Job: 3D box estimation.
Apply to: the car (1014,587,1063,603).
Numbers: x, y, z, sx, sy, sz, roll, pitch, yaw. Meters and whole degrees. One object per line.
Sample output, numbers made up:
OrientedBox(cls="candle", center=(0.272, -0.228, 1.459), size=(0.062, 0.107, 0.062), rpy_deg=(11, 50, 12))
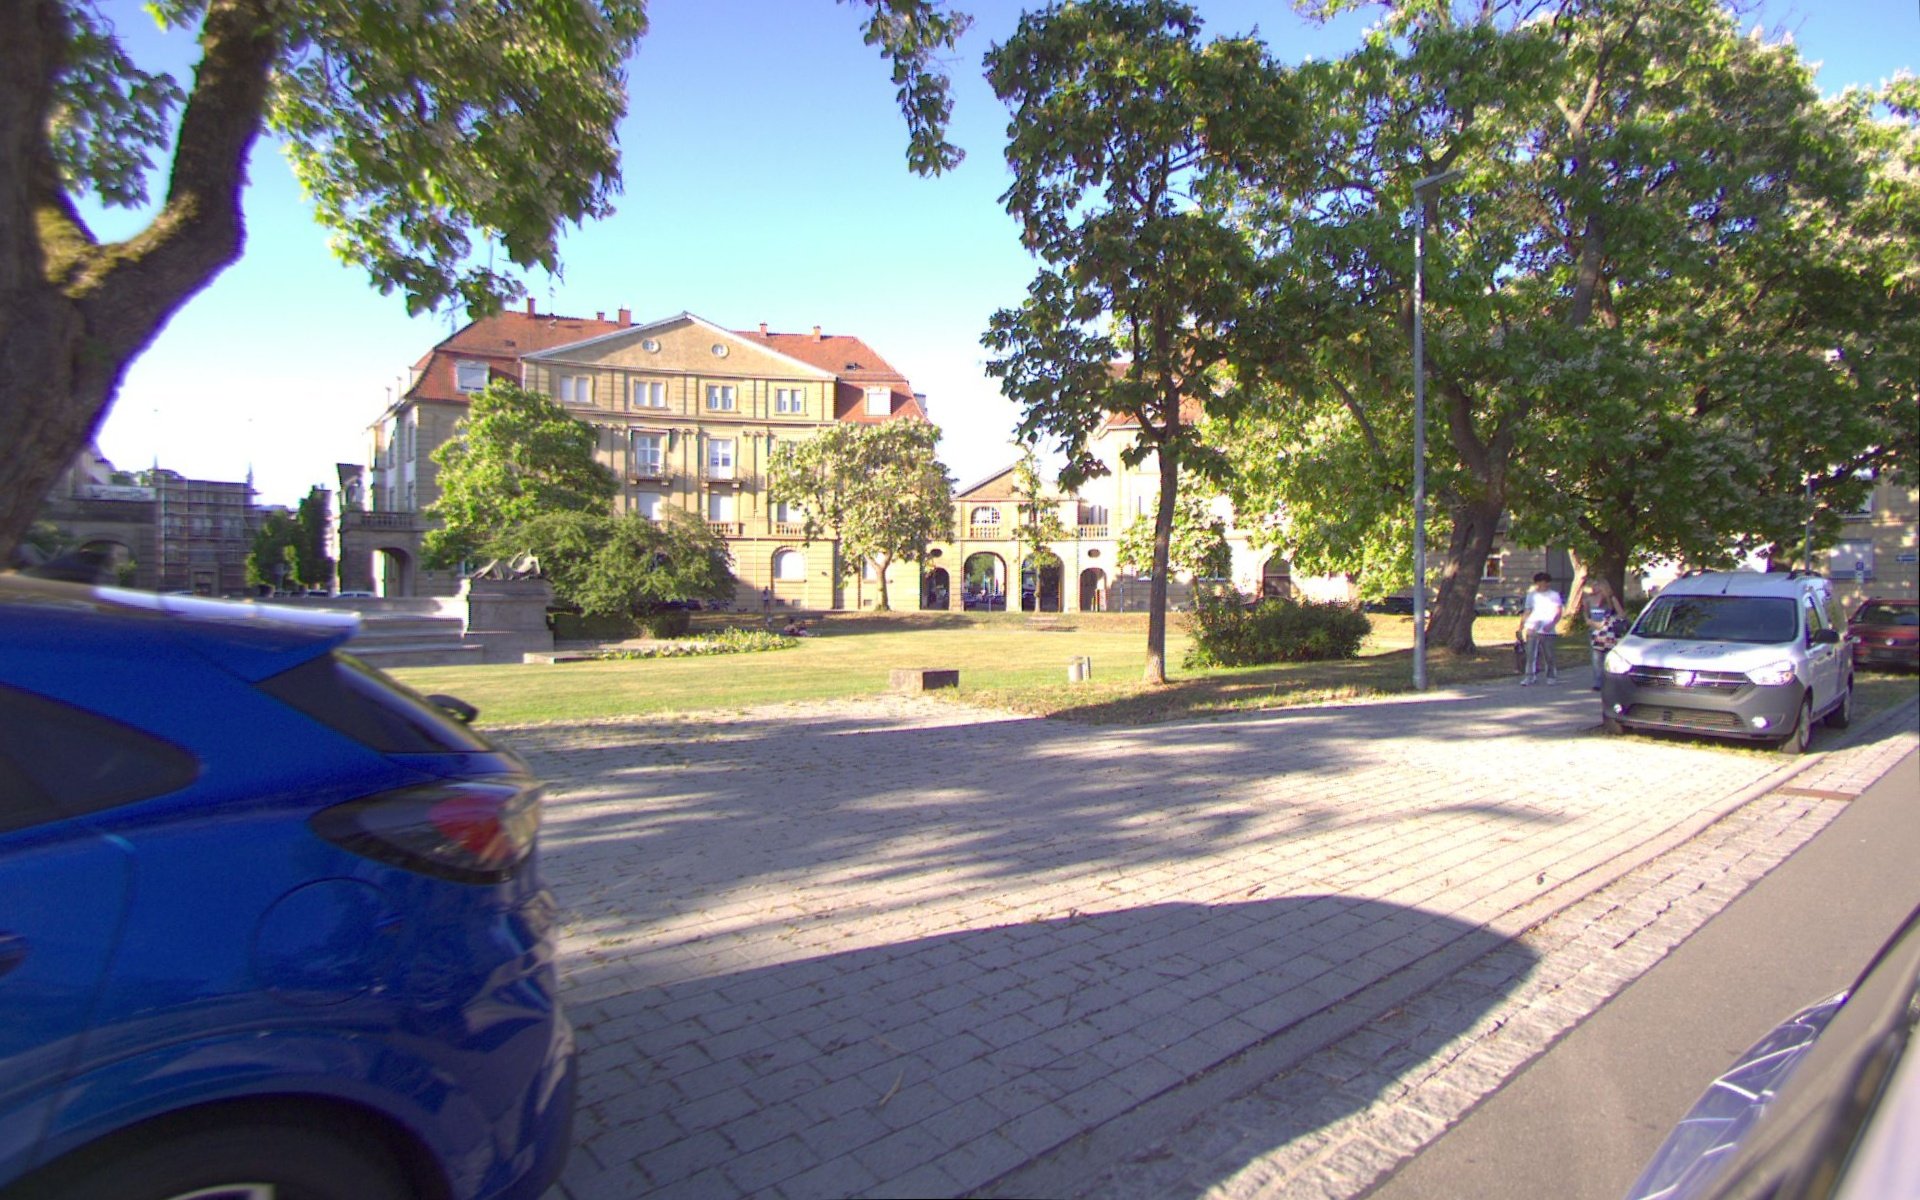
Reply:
OrientedBox(cls="car", center=(7.186, -0.466, 92.837), size=(4.283, 1.435, 1.822), rpy_deg=(0, 1, -5))

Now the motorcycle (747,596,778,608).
OrientedBox(cls="motorcycle", center=(-12.286, 0.109, 63.031), size=(1.825, 0.679, 0.682), rpy_deg=(-1, 1, -38))

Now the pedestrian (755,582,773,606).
OrientedBox(cls="pedestrian", center=(-12.225, -0.369, 63.076), size=(0.933, 1.493, 0.682), rpy_deg=(-1, 1, -38))

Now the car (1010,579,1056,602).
OrientedBox(cls="car", center=(7.152, -0.940, 99.121), size=(4.286, 2.134, 1.821), rpy_deg=(0, 1, -3))

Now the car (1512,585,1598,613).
OrientedBox(cls="car", center=(35.831, -0.072, 61.027), size=(4.419, 1.620, 1.782), rpy_deg=(0, 1, 32))

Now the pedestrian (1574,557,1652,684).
OrientedBox(cls="pedestrian", center=(9.391, 0.286, 14.556), size=(0.719, 1.758, 0.754), rpy_deg=(0, -1, -40))

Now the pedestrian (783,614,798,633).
OrientedBox(cls="pedestrian", center=(-8.227, 1.126, 49.086), size=(0.664, 0.892, 0.578), rpy_deg=(-1, -1, -3))

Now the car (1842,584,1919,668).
OrientedBox(cls="car", center=(19.151, 0.446, 20.242), size=(4.726, 1.504, 1.681), rpy_deg=(-1, 1, -41))

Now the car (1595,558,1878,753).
OrientedBox(cls="car", center=(8.752, 0.453, 11.253), size=(4.436, 1.761, 1.681), rpy_deg=(-1, 1, -41))

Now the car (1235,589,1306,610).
OrientedBox(cls="car", center=(21.127, -0.051, 68.946), size=(4.589, 1.435, 1.809), rpy_deg=(0, 1, 19))

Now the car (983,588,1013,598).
OrientedBox(cls="car", center=(5.473, -1.017, 146.561), size=(4.288, 1.435, 1.820), rpy_deg=(0, 1, 0))

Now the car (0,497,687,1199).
OrientedBox(cls="car", center=(-2.700, 0.653, 1.335), size=(4.200, 1.570, 1.735), rpy_deg=(-1, 1, -40))

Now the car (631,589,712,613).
OrientedBox(cls="car", center=(-18.310, 0.064, 64.352), size=(4.845, 1.435, 1.823), rpy_deg=(-1, 1, -16))

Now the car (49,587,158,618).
OrientedBox(cls="car", center=(-42.408, 0.110, 50.210), size=(4.024, 1.435, 1.817), rpy_deg=(-1, 1, -40))

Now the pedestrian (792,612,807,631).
OrientedBox(cls="pedestrian", center=(-7.920, 1.049, 50.030), size=(0.664, 0.892, 0.578), rpy_deg=(-1, -1, -3))

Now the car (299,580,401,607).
OrientedBox(cls="car", center=(-34.171, -0.399, 56.732), size=(4.854, 1.435, 1.820), rpy_deg=(-1, 1, -34))

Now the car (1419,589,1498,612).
OrientedBox(cls="car", center=(31.445, 0.011, 63.860), size=(4.412, 1.341, 1.491), rpy_deg=(0, 1, 28))

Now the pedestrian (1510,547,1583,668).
OrientedBox(cls="pedestrian", center=(8.809, 0.109, 15.203), size=(0.719, 1.758, 0.726), rpy_deg=(0, -1, -40))

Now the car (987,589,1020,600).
OrientedBox(cls="car", center=(5.805, -0.808, 135.960), size=(4.288, 1.435, 1.820), rpy_deg=(0, 1, 0))

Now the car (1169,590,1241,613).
OrientedBox(cls="car", center=(15.640, 0.059, 64.567), size=(4.317, 1.435, 1.808), rpy_deg=(0, 1, 20))

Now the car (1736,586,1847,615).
OrientedBox(cls="car", center=(44.174, 0.000, 53.831), size=(4.440, 1.436, 1.905), rpy_deg=(1, 1, 45))

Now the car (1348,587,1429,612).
OrientedBox(cls="car", center=(25.507, -0.029, 60.314), size=(4.394, 1.435, 1.552), rpy_deg=(0, 1, 27))

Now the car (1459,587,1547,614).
OrientedBox(cls="car", center=(30.773, 0.007, 57.416), size=(4.329, 1.435, 1.826), rpy_deg=(0, 1, 30))
